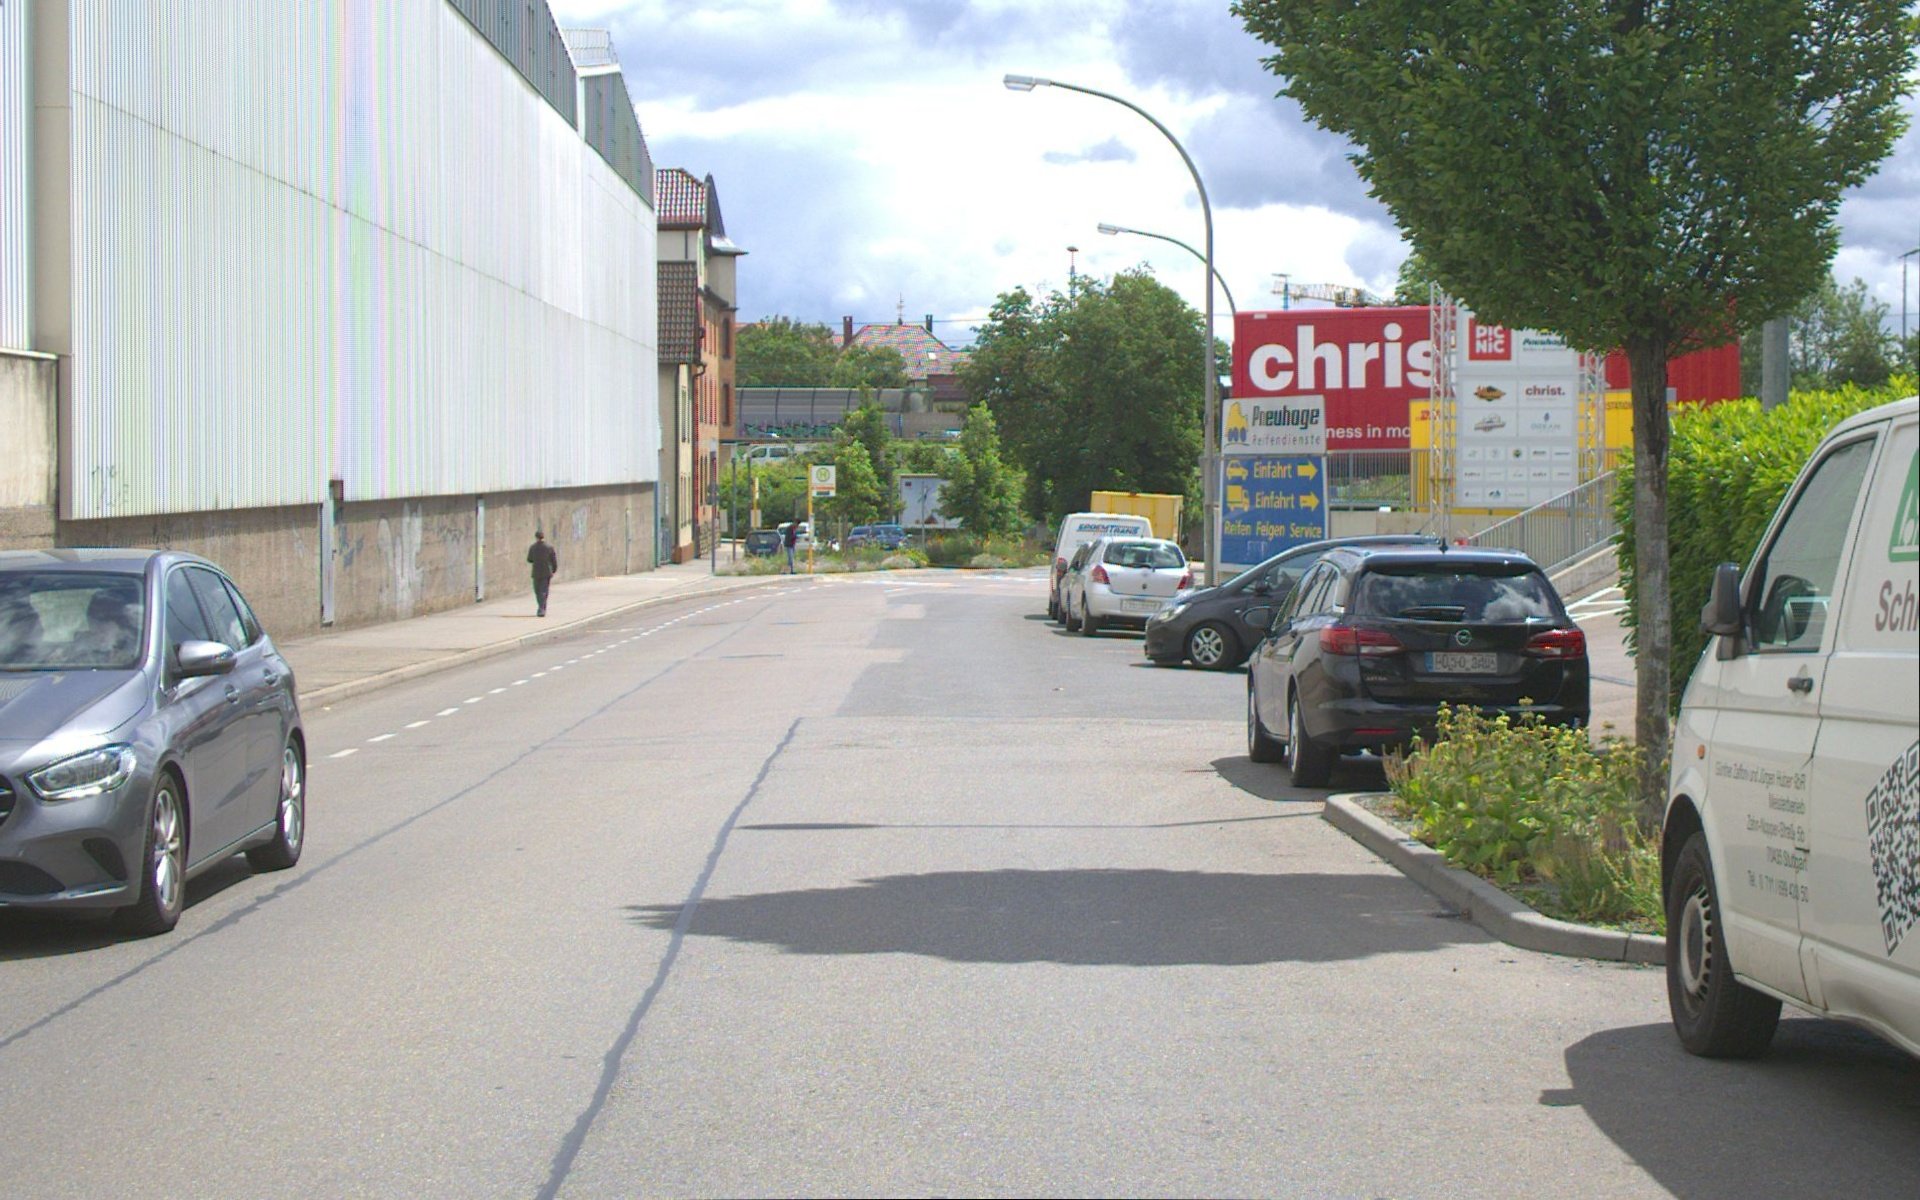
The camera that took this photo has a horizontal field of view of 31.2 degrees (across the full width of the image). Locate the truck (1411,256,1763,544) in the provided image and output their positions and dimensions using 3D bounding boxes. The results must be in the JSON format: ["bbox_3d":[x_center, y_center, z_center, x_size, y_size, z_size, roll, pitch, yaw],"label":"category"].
[{"bbox_3d":[10.677,-3.283,59.518,2.573,4.434,7.865,0,-1,-18],"label":"truck"}]

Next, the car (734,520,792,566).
[{"bbox_3d":[-6.820,-1.971,119.078,1.852,1.481,4.000,0,-1,-1],"label":"car"}]

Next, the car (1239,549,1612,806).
[{"bbox_3d":[2.864,0.411,22.058,1.714,1.468,4.511,0,1,-1],"label":"car"}]

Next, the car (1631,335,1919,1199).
[{"bbox_3d":[3.104,0.381,8.350,1.869,1.983,5.144,0,1,-1],"label":"car"}]

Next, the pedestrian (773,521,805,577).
[{"bbox_3d":[-5.102,-1.509,102.513,0.853,1.657,0.860,0,-1,4],"label":"pedestrian"}]

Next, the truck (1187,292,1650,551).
[{"bbox_3d":[8.810,-3.331,66.168,8.458,4.655,2.580,0,-1,21],"label":"truck"}]

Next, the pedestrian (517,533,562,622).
[{"bbox_3d":[-7.777,-0.412,63.637,0.713,1.632,0.777,0,-1,1],"label":"pedestrian"}]

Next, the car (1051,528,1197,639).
[{"bbox_3d":[2.455,-0.280,52.300,1.701,1.522,3.739,3,1,-4],"label":"car"}]

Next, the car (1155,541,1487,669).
[{"bbox_3d":[4.199,0.045,40.396,3.782,1.442,1.707,0,1,3],"label":"car"}]

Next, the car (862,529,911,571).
[{"bbox_3d":[-2.785,-1.890,130.612,1.852,1.481,4.000,0,-1,-1],"label":"car"}]

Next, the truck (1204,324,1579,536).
[{"bbox_3d":[9.992,-3.866,79.387,8.453,4.655,2.581,0,-1,10],"label":"truck"}]

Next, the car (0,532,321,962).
[{"bbox_3d":[-3.947,0.543,14.611,1.719,1.550,4.288,-1,0,-1],"label":"car"}]

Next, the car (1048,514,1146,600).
[{"bbox_3d":[2.488,-0.804,63.135,1.701,1.522,3.738,0,1,1],"label":"car"}]
